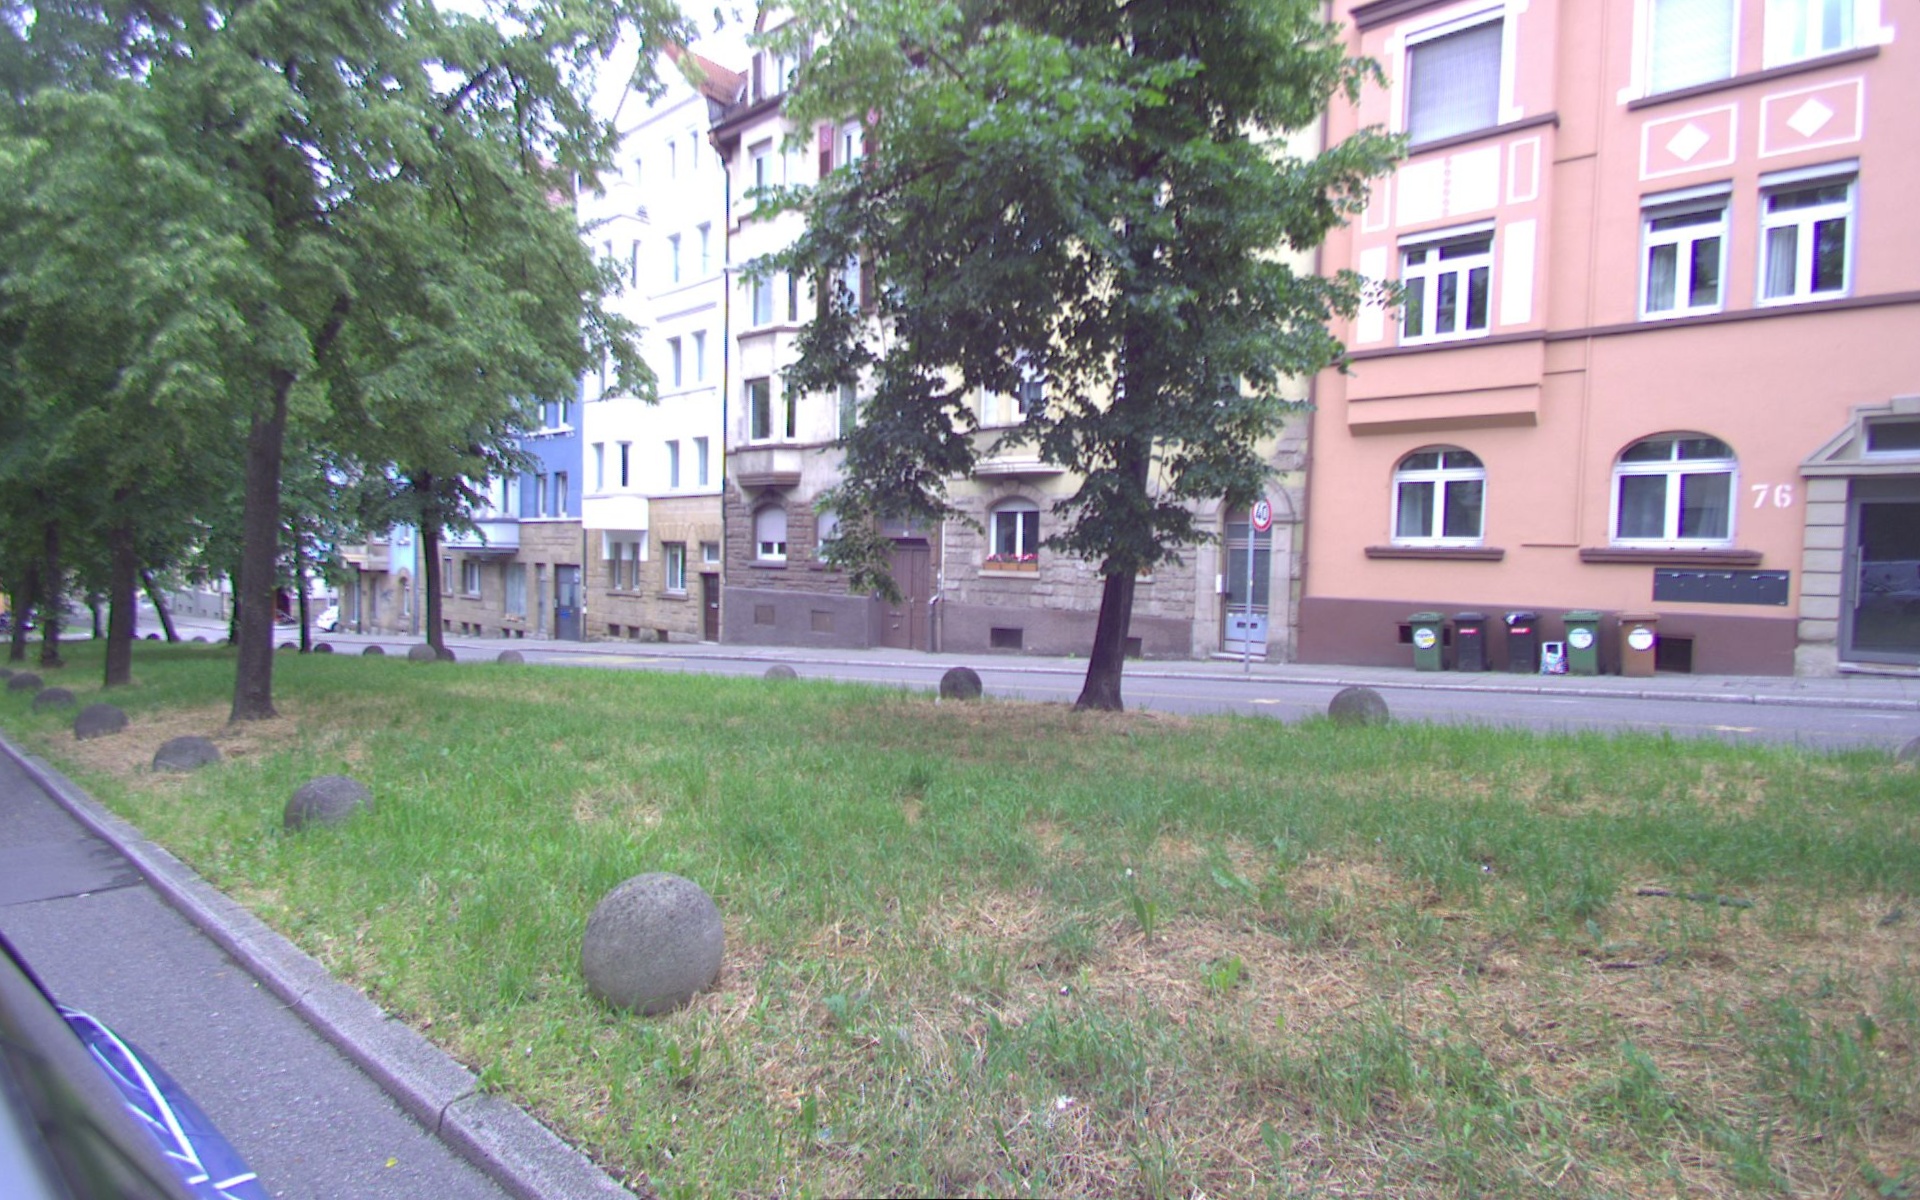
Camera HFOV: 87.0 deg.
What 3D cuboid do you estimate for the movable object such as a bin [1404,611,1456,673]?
[{"bbox_3d":[7.521,0.661,16.183,0.617,0.955,0.610,-1,0,40],"label":"movable object such as a bin"}]

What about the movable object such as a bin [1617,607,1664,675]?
[{"bbox_3d":[9.646,0.566,14.336,0.514,0.928,0.750,-1,0,36],"label":"movable object such as a bin"}]

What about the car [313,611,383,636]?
[{"bbox_3d":[-35.360,1.331,58.494,3.244,1.341,1.674,-1,0,-40],"label":"car"}]

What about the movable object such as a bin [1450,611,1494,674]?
[{"bbox_3d":[7.995,0.655,15.811,0.531,0.953,0.575,-1,0,35],"label":"movable object such as a bin"}]

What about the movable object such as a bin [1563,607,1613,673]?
[{"bbox_3d":[9.153,0.572,14.754,0.558,0.928,0.648,-1,0,36],"label":"movable object such as a bin"}]
